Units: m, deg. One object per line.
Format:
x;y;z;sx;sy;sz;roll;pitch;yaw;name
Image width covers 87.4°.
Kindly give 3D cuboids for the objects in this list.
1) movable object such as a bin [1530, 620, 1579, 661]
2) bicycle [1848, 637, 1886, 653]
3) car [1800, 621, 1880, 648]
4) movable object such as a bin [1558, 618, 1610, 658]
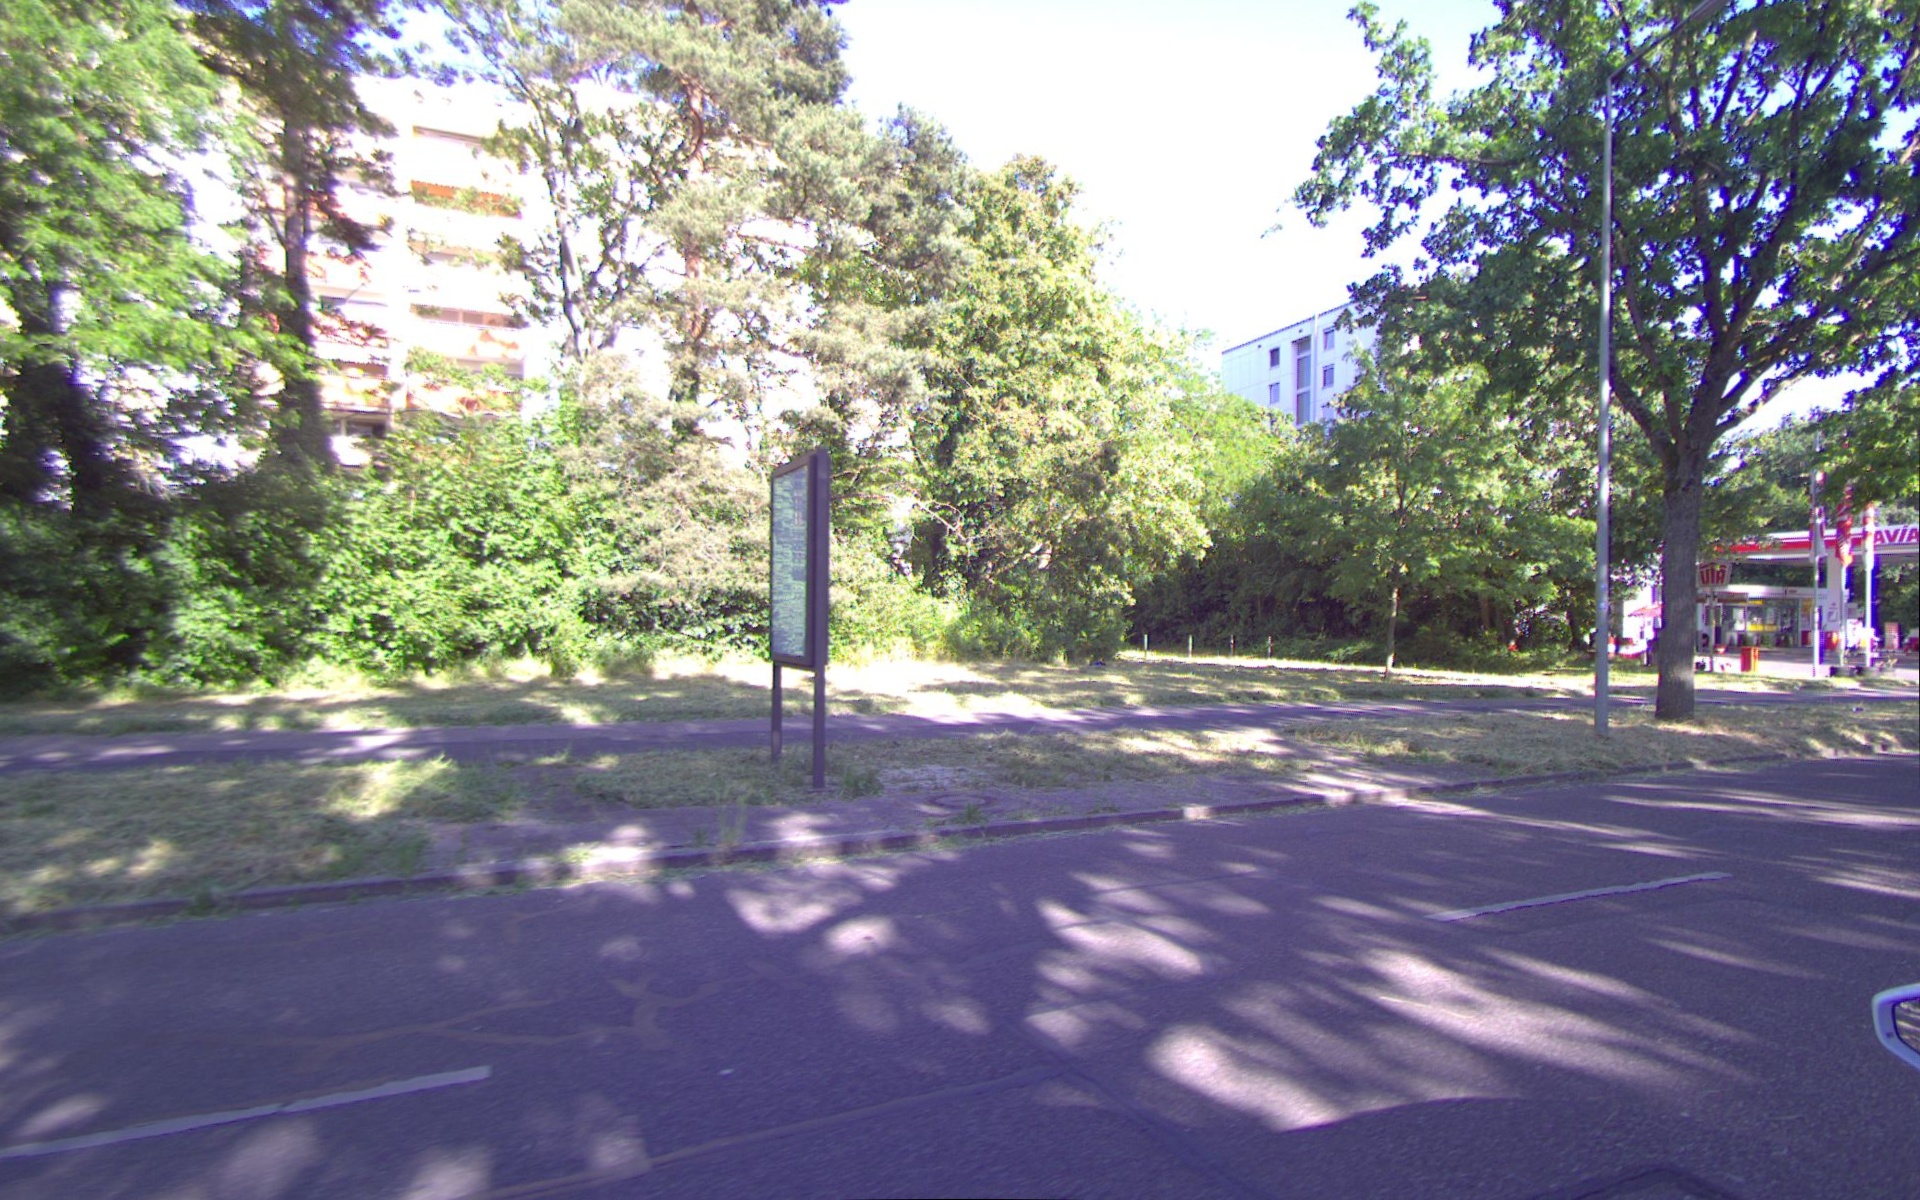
24.127;1.632;40.779;1.149;1.562;1.299;1;0;-27;movable object such as a bin
49.477;2.461;54.800;1.749;0.818;0.618;1;-1;-13;bicycle
52.038;2.004;59.429;1.561;1.419;3.191;1;1;-19;car
24.835;1.501;39.974;1.251;1.562;1.299;1;-1;-27;movable object such as a bin
